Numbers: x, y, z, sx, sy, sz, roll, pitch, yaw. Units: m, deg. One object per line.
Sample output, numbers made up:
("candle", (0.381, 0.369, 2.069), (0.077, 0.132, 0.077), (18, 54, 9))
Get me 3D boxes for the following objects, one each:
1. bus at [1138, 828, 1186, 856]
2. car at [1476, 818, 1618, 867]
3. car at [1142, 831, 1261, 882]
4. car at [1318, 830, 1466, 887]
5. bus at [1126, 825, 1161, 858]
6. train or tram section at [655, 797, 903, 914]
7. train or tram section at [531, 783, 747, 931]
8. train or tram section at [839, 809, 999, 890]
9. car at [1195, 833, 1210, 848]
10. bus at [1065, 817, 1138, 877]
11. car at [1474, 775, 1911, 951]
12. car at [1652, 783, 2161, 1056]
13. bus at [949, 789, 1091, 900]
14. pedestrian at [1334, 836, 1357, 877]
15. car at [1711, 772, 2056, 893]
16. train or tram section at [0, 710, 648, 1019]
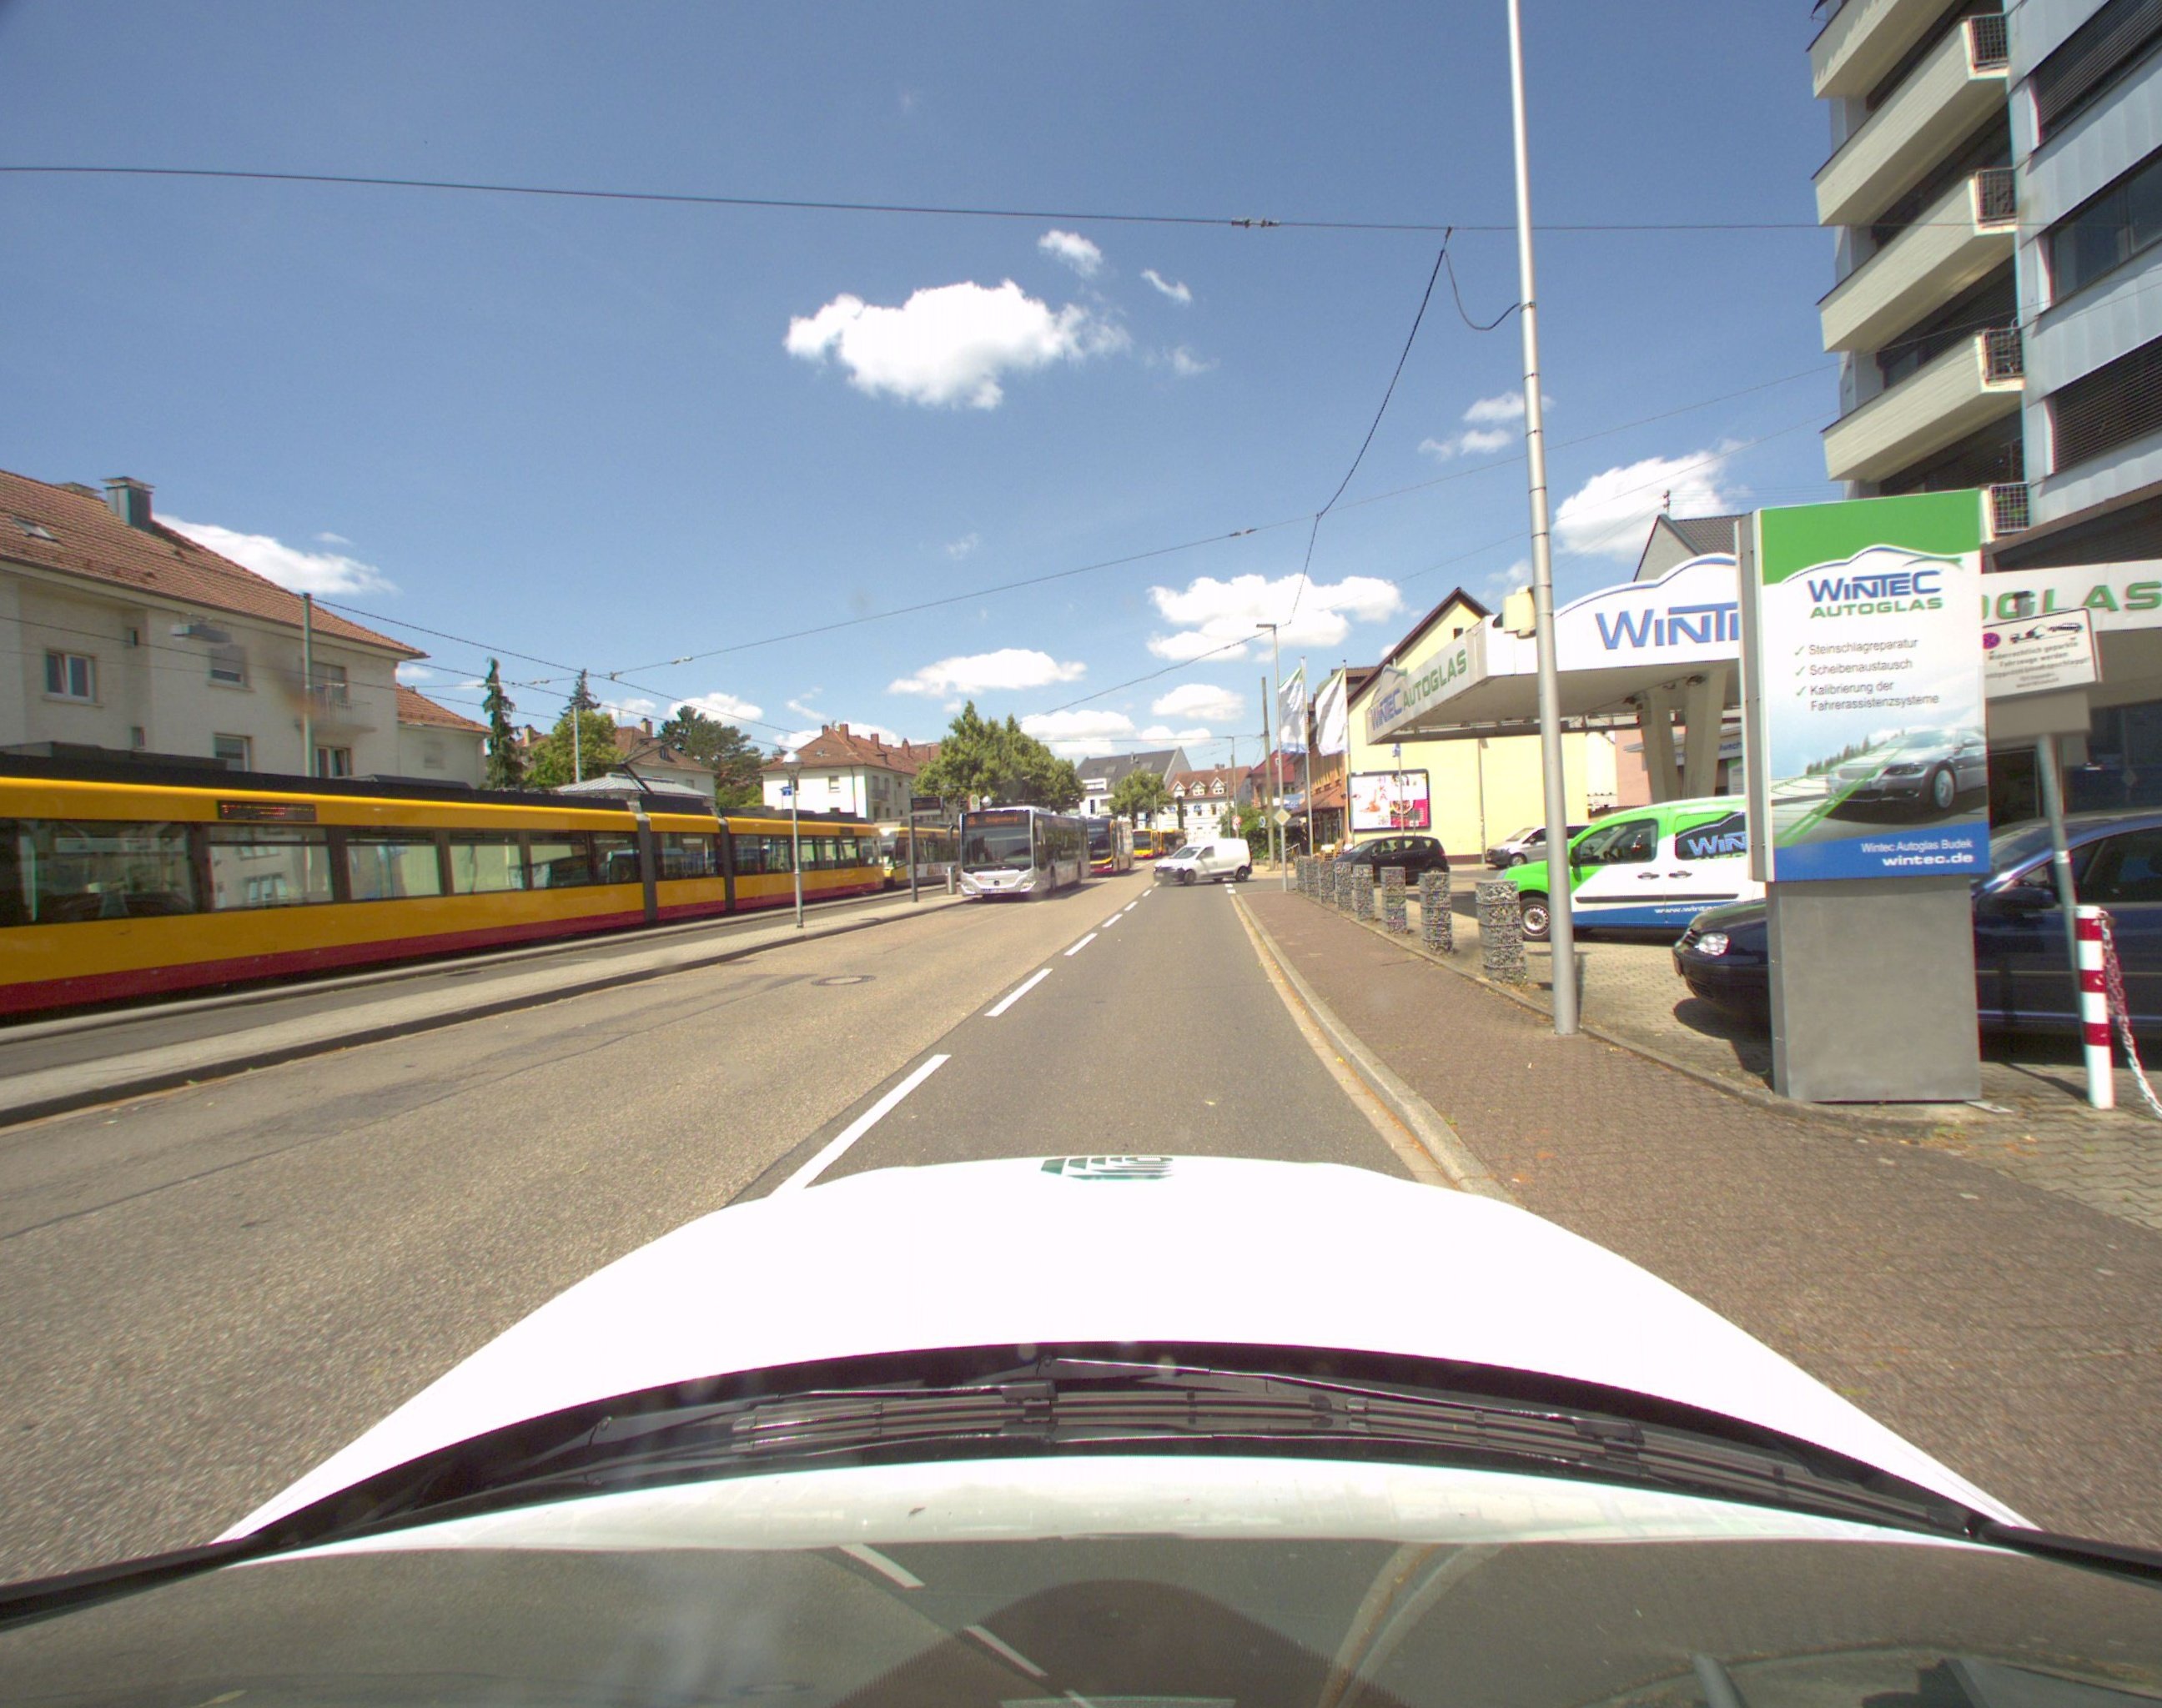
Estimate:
("bus", (10.075, -1.562, 99.641), (2.756, 3.208, 12.370), (0, 2, 20))
("car", (20.377, -0.483, 35.756), (5.030, 1.861, 1.911), (-3, 0, 5))
("car", (4.943, 0.066, 33.183), (4.726, 1.850, 1.693), (-2, 1, -29))
("car", (9.605, 0.136, 25.351), (3.869, 1.543, 1.839), (-2, 0, -5))
("bus", (6.752, -1.315, 86.241), (2.891, 3.247, 12.147), (0, 0, 8))
("train or tram section", (-10.447, 0.000, 30.661), (2.946, 3.495, 12.688), (-1, 0, 9))
("train or tram section", (-11.820, 0.067, 22.259), (2.946, 3.495, 4.428), (-3, 0, 8))
("train or tram section", (-8.231, -0.268, 45.481), (2.946, 3.642, 17.394), (-1, 0, 9))
("car", (16.352, -1.811, 109.647), (1.982, 2.014, 4.010), (-1, -1, 9))
("bus", (1.510, -0.352, 50.428), (2.881, 3.247, 12.227), (-1, 0, 9))
("car", (7.635, 0.113, 10.515), (1.833, 1.790, 4.238), (0, -1, -42))
("car", (6.027, 0.326, 5.059), (3.921, 1.429, 1.711), (-3, 0, 32))
("bus", (-1.839, -0.239, 31.253), (2.891, 3.427, 12.067), (-1, 0, 8))
("pedestrian", (11.117, 0.095, 34.249), (0.698, 1.641, 0.664), (-3, 2, 29))
("car", (13.020, -0.321, 13.747), (1.735, 1.626, 4.718), (-2, 0, 10))
("train or tram section", (-13.036, 0.087, 13.837), (2.946, 3.495, 12.744), (-1, 0, 9))
